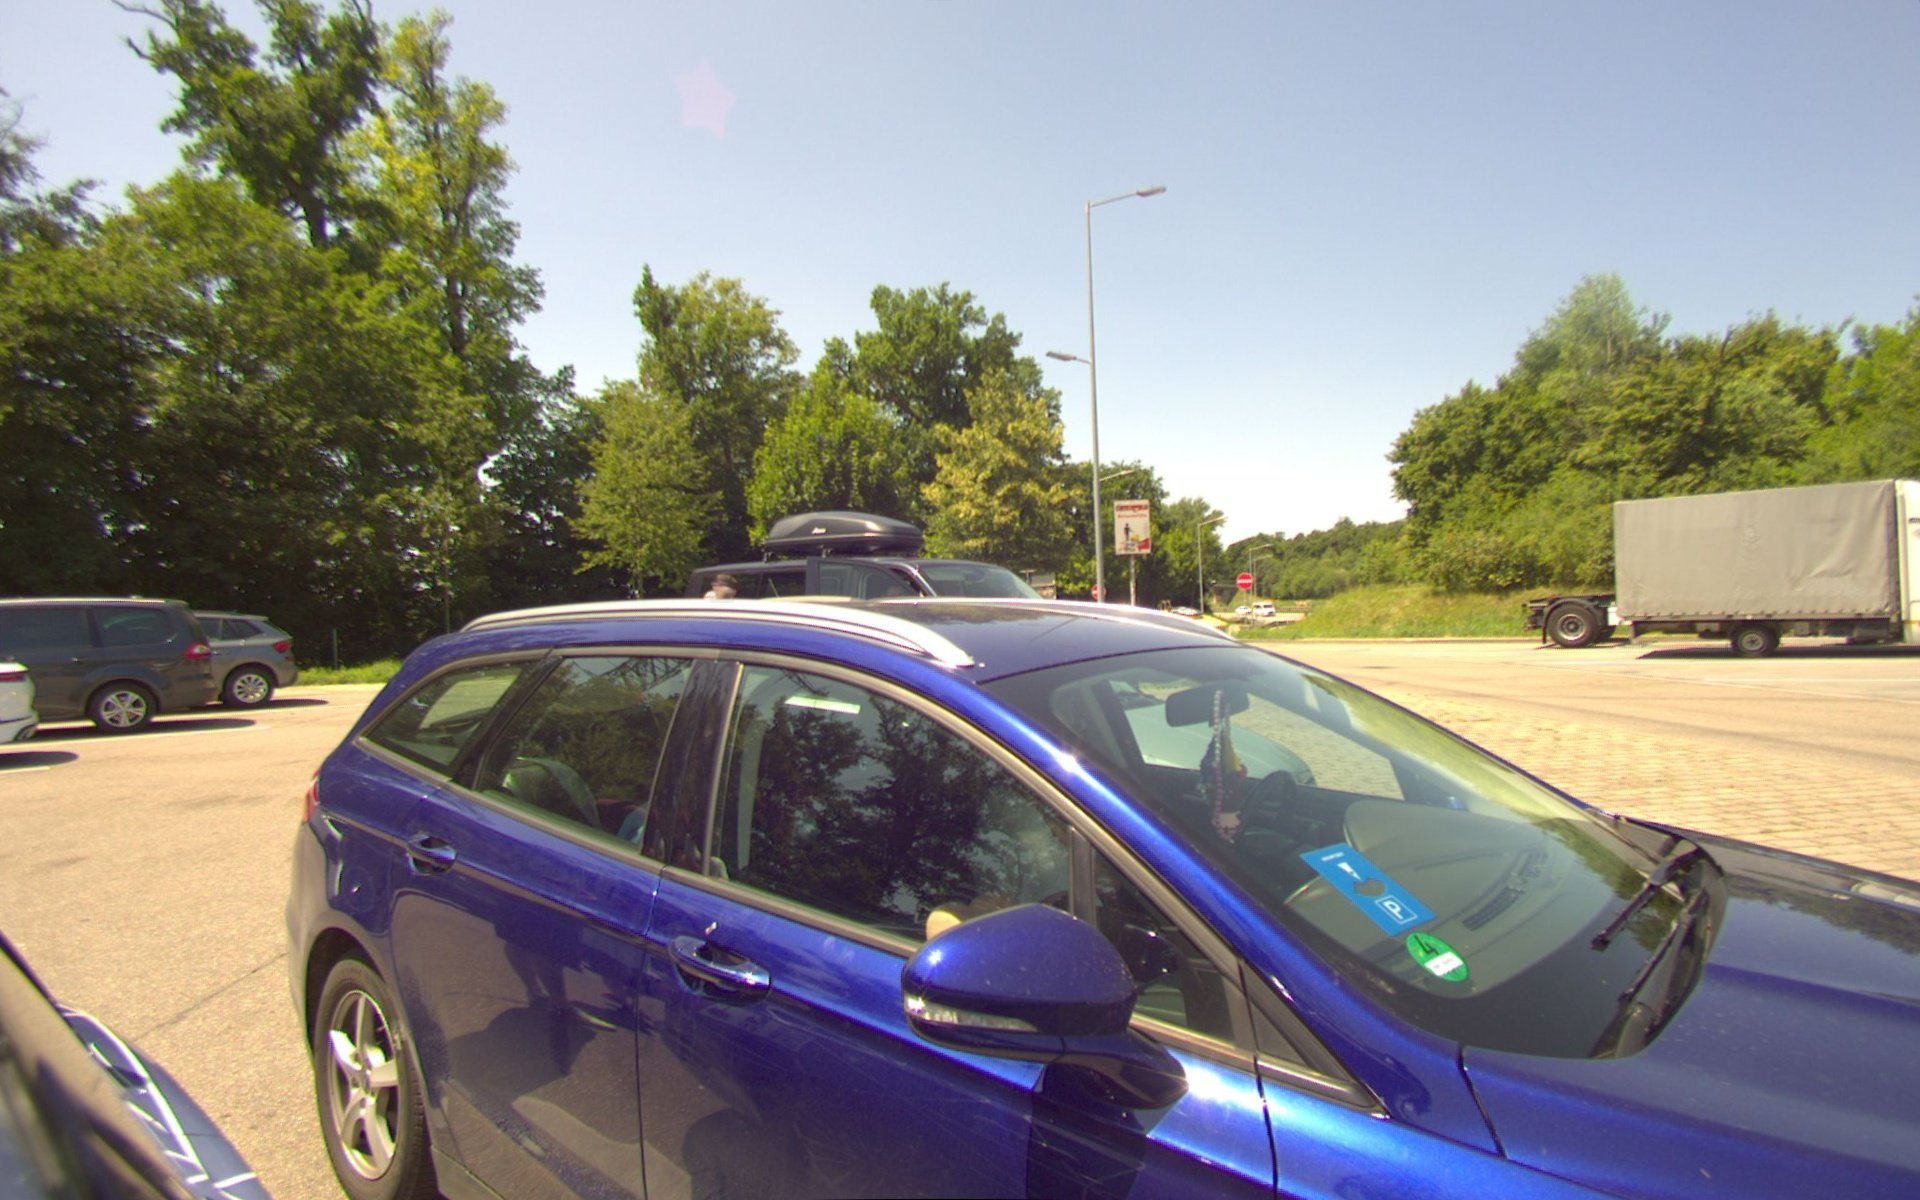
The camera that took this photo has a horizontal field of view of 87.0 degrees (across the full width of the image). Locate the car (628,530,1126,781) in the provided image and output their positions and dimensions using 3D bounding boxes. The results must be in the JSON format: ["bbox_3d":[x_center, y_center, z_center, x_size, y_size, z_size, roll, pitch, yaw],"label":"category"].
[{"bbox_3d":[-0.908,0.497,9.661,4.558,1.912,1.740,-3,0,32],"label":"car"}]

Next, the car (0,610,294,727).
[{"bbox_3d":[-12.639,0.970,15.665,3.767,1.572,1.654,-1,0,-38],"label":"car"}]

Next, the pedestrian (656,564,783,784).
[{"bbox_3d":[-2.027,0.595,8.596,0.749,1.767,0.781,-1,0,17],"label":"pedestrian"}]

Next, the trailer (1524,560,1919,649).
[{"bbox_3d":[17.690,0.151,23.111,8.098,1.638,2.187,-4,-1,41],"label":"trailer"}]

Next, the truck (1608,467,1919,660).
[{"bbox_3d":[16.765,-0.653,19.014,7.274,3.269,2.678,-4,-1,42],"label":"truck"}]

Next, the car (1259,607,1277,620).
[{"bbox_3d":[49.847,2.131,163.828,1.974,2.029,3.995,-1,0,4],"label":"car"}]

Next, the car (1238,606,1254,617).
[{"bbox_3d":[51.959,2.098,183.746,1.974,2.029,3.995,-1,0,4],"label":"car"}]

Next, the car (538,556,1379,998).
[{"bbox_3d":[-0.337,0.669,5.612,4.569,1.517,1.735,-3,0,40],"label":"car"}]

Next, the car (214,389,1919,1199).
[{"bbox_3d":[0.218,0.634,2.075,4.569,1.482,1.735,-3,0,40],"label":"car"}]

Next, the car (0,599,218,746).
[{"bbox_3d":[-11.647,0.866,12.658,3.767,1.708,1.654,-1,0,-38],"label":"car"}]

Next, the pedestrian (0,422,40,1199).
[{"bbox_3d":[-2.743,0.521,2.244,0.905,1.919,0.816,-1,0,-33],"label":"pedestrian"}]
